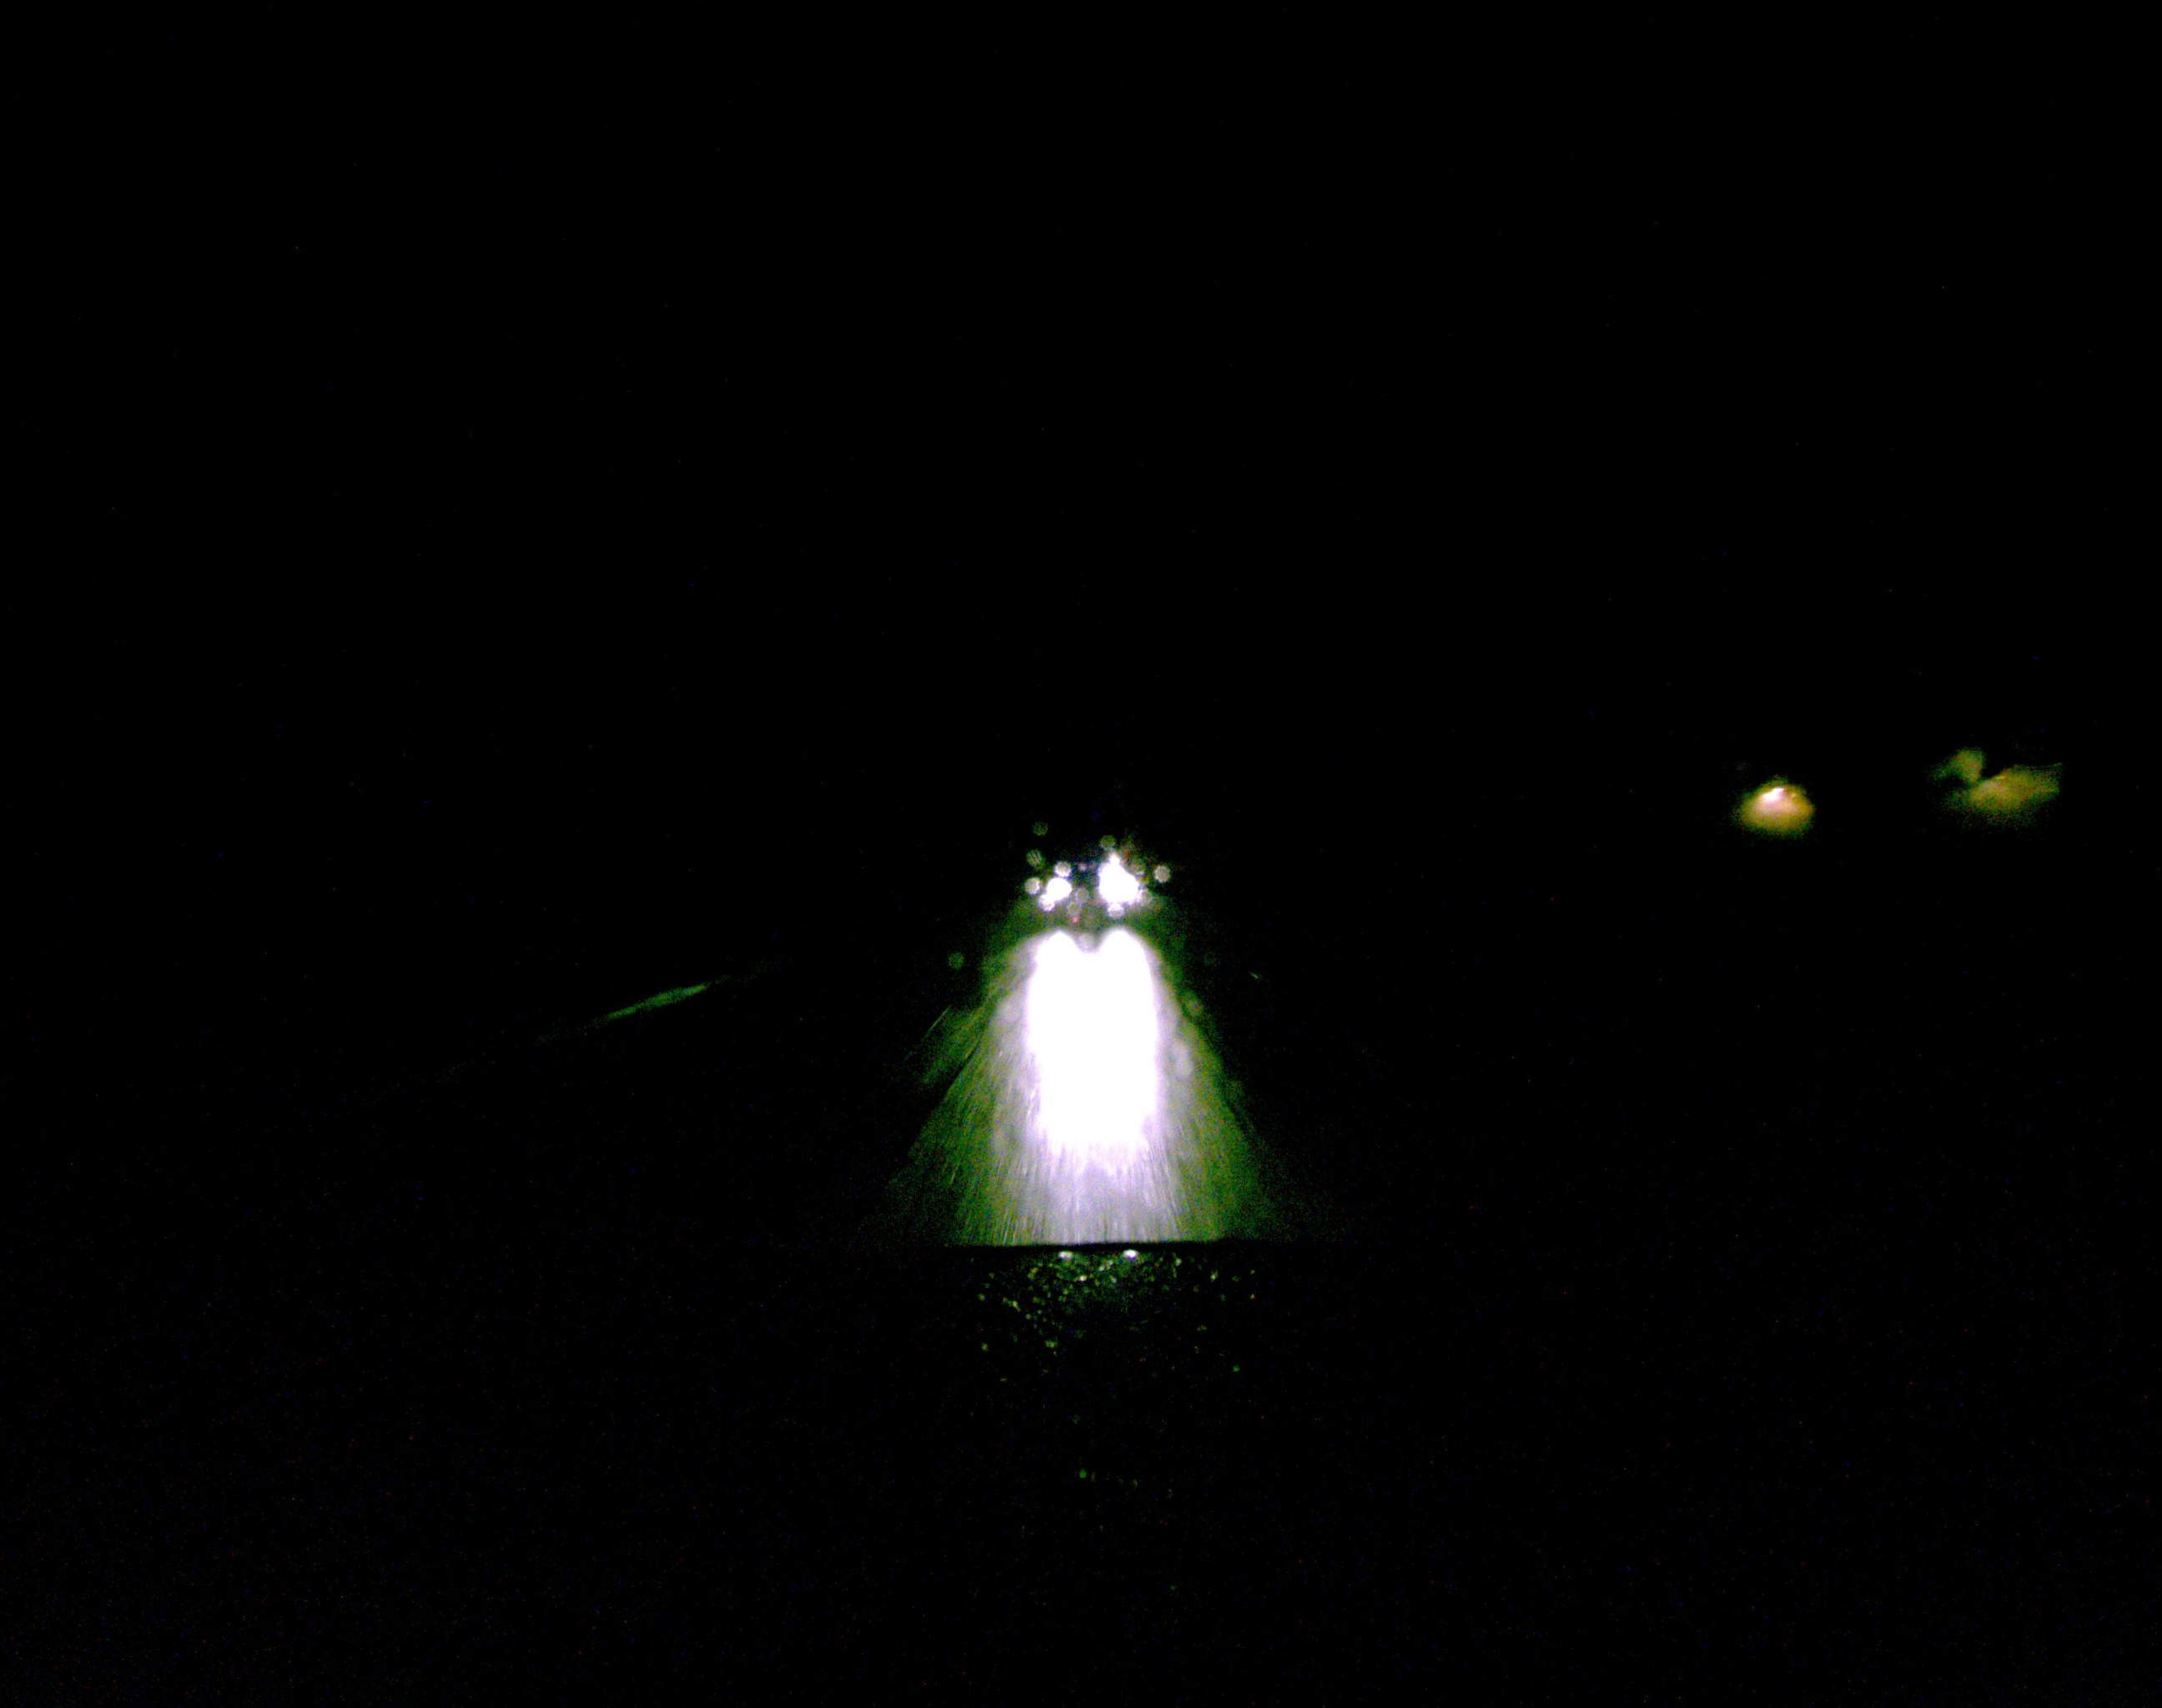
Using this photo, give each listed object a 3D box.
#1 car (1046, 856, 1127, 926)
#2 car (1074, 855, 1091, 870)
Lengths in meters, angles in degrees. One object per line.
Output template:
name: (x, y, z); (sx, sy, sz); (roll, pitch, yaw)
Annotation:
car: (0.155, 0.876, 19.771); (1.846, 1.565, 4.000); (-2, 0, 1)
car: (0.189, 0.939, 84.161); (1.846, 1.565, 4.000); (-2, 0, 1)
